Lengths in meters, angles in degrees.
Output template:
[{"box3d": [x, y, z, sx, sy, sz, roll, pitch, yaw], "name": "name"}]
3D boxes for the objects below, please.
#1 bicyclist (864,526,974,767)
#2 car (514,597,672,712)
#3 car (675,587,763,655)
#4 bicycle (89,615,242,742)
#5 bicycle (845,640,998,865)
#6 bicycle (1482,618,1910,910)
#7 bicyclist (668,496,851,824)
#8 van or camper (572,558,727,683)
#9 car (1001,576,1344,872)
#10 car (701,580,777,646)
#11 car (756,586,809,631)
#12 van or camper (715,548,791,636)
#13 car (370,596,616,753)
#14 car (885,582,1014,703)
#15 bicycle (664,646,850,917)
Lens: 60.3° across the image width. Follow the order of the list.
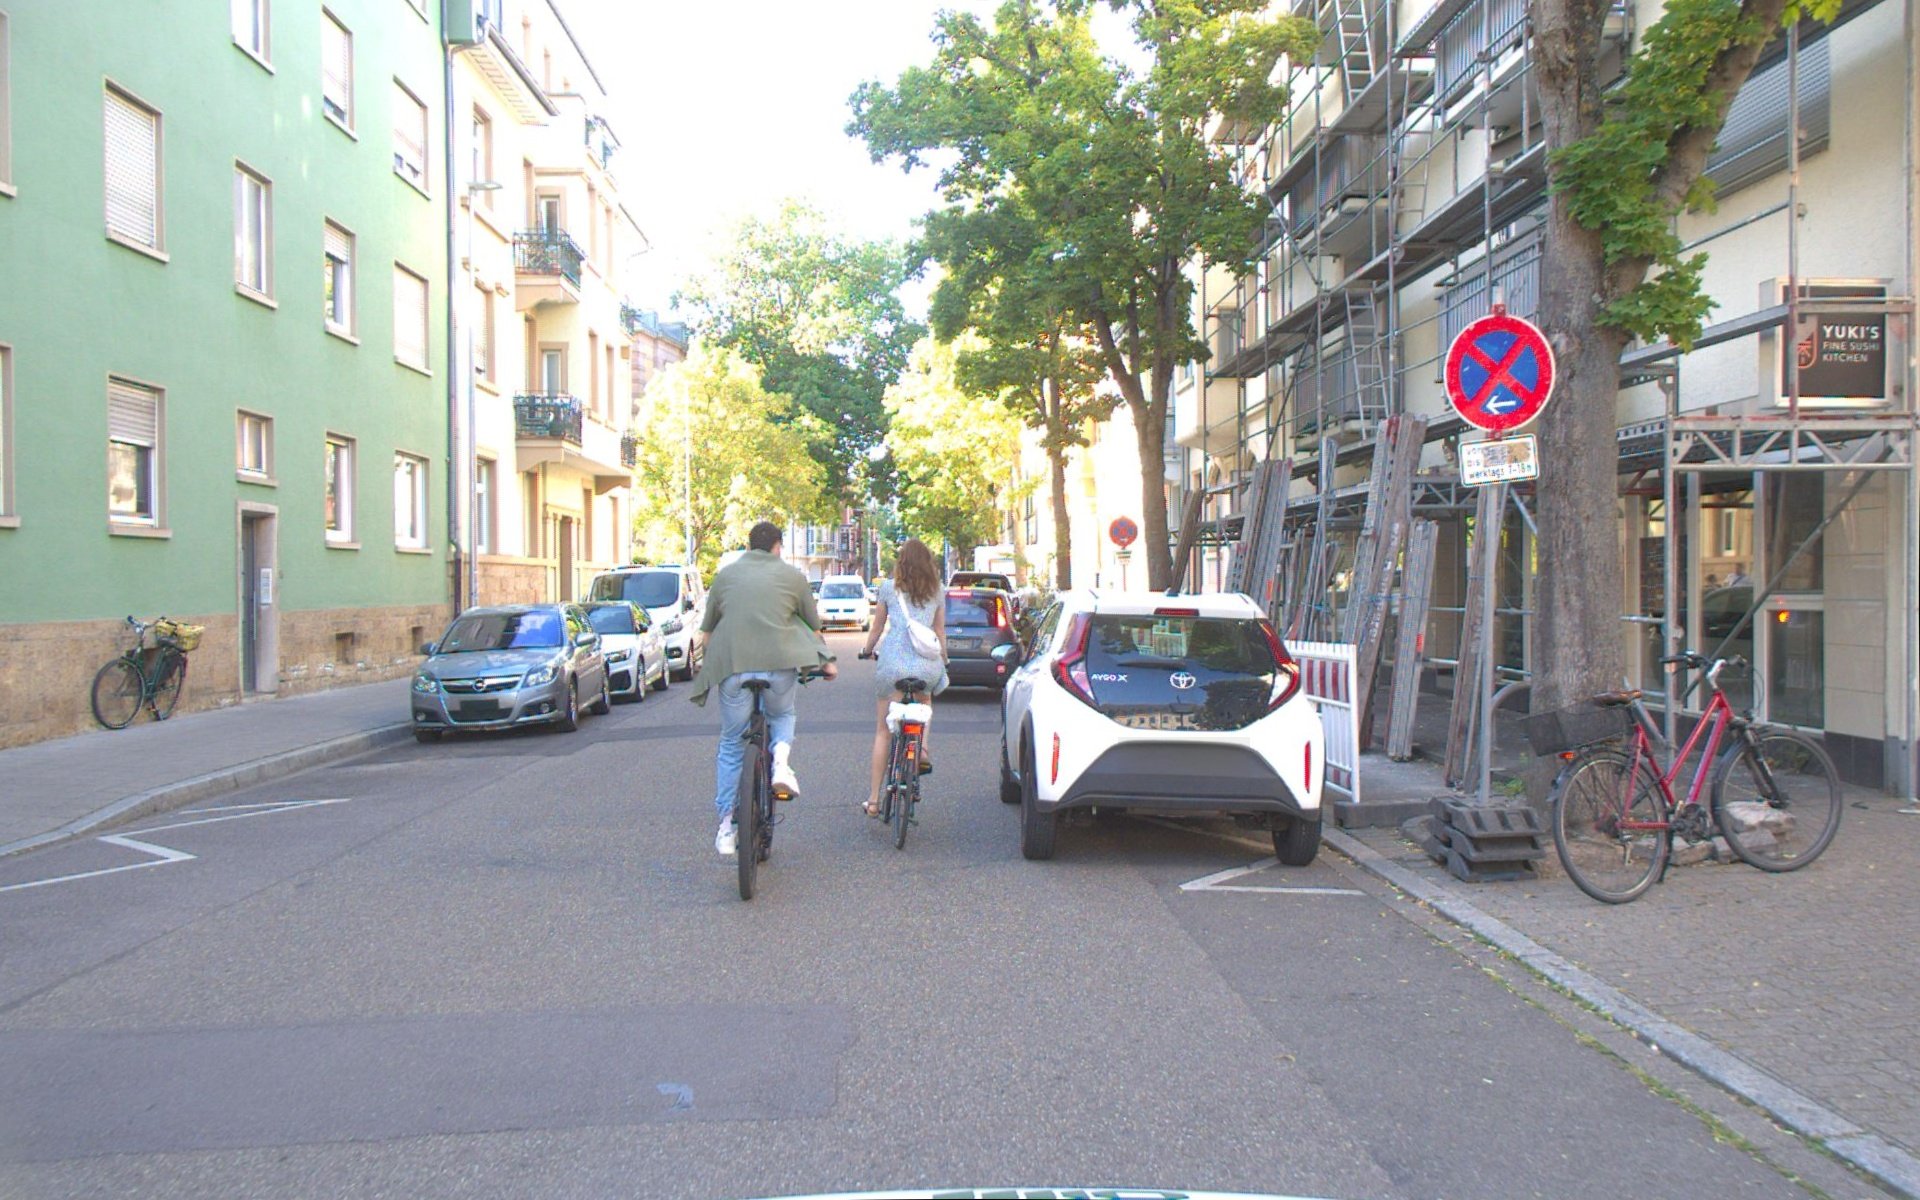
[{"box3d": [-0.266, 0.298, 10.184, 0.611, 1.405, 0.867, -1, -4, -4], "name": "bicyclist"}, {"box3d": [-5.307, 0.736, 24.346, 1.653, 1.479, 3.708, -2, 1, -3], "name": "car"}, {"box3d": [-5.904, 0.478, 40.901, 1.676, 1.531, 3.999, -1, 1, -2], "name": "car"}, {"box3d": [-8.444, 0.798, 17.692, 0.539, 1.198, 2.278, 2, 1, -1], "name": "bicycle"}, {"box3d": [-0.289, 0.873, 10.291, 0.822, 1.169, 2.231, 1, 0, -4], "name": "bicycle"}, {"box3d": [3.652, 0.755, 8.202, 1.951, 1.185, 0.722, -4, 1, -20], "name": "bicycle"}, {"box3d": [-1.025, 0.308, 8.551, 0.865, 1.589, 0.867, -1, -3, -6], "name": "bicyclist"}, {"box3d": [-5.585, 0.321, 30.409, 1.953, 2.049, 4.910, -2, 1, -1], "name": "van or camper"}, {"box3d": [1.180, 0.647, 10.531, 1.641, 1.572, 3.402, 0, 0, -2], "name": "car"}, {"box3d": [-6.062, 0.317, 45.727, 1.676, 1.729, 3.999, -1, 1, -2], "name": "car"}, {"box3d": [-6.725, 0.302, 63.038, 1.676, 1.587, 3.999, -1, 1, -2], "name": "car"}, {"box3d": [-6.440, -0.278, 51.908, 1.954, 2.597, 5.020, -1, 1, -3], "name": "van or camper"}, {"box3d": [-5.300, 0.766, 19.348, 1.940, 1.480, 4.109, -4, 1, -5], "name": "car"}, {"box3d": [-0.081, 0.536, 23.294, 1.524, 1.559, 3.488, -1, 1, 4], "name": "car"}, {"box3d": [-1.021, 0.850, 8.609, 0.823, 1.169, 2.230, -1, -1, -5], "name": "bicycle"}]
